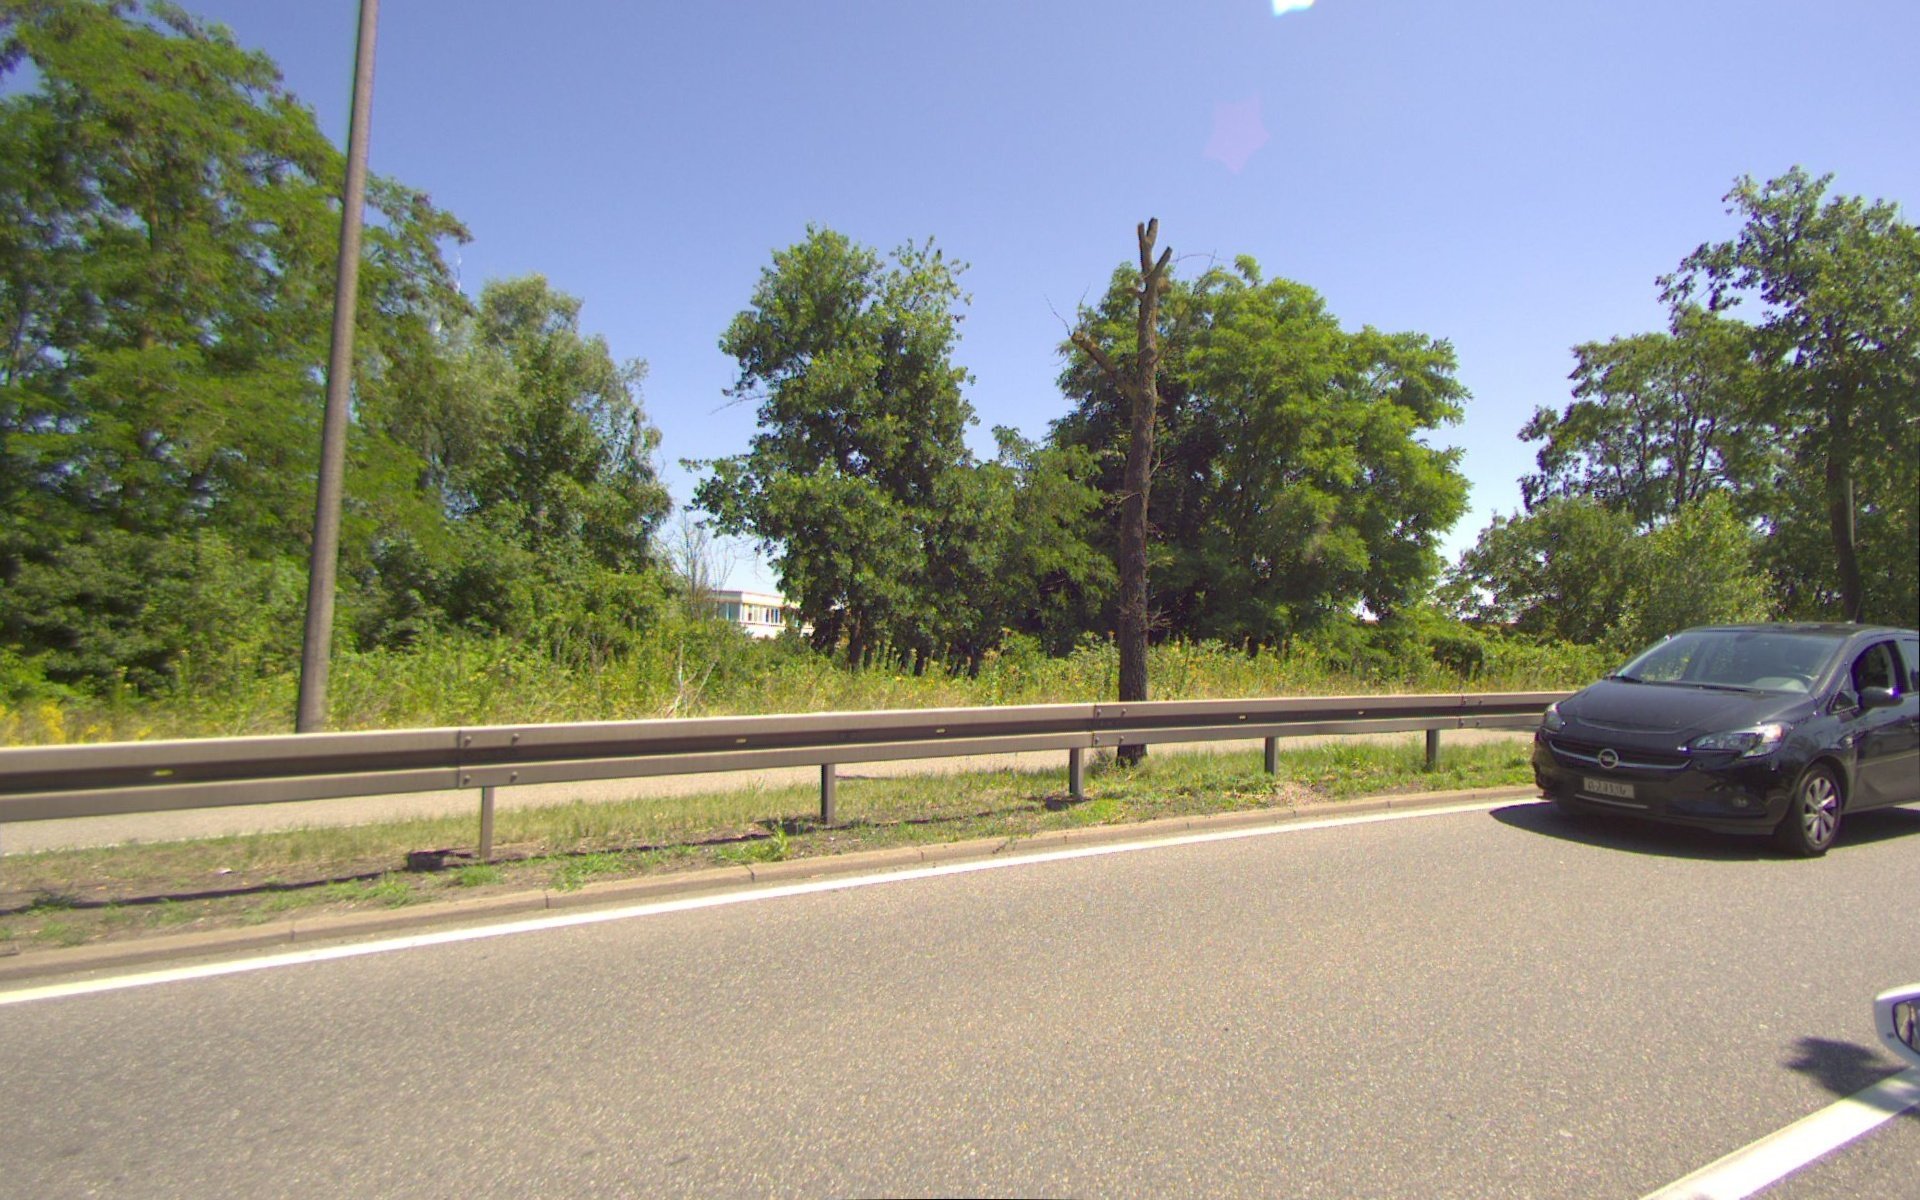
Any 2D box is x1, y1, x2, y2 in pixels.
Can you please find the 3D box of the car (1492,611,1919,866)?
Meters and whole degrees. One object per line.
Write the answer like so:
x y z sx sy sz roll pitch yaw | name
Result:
6.008 0.876 7.550 3.770 1.485 1.665 1 0 -26 | car
